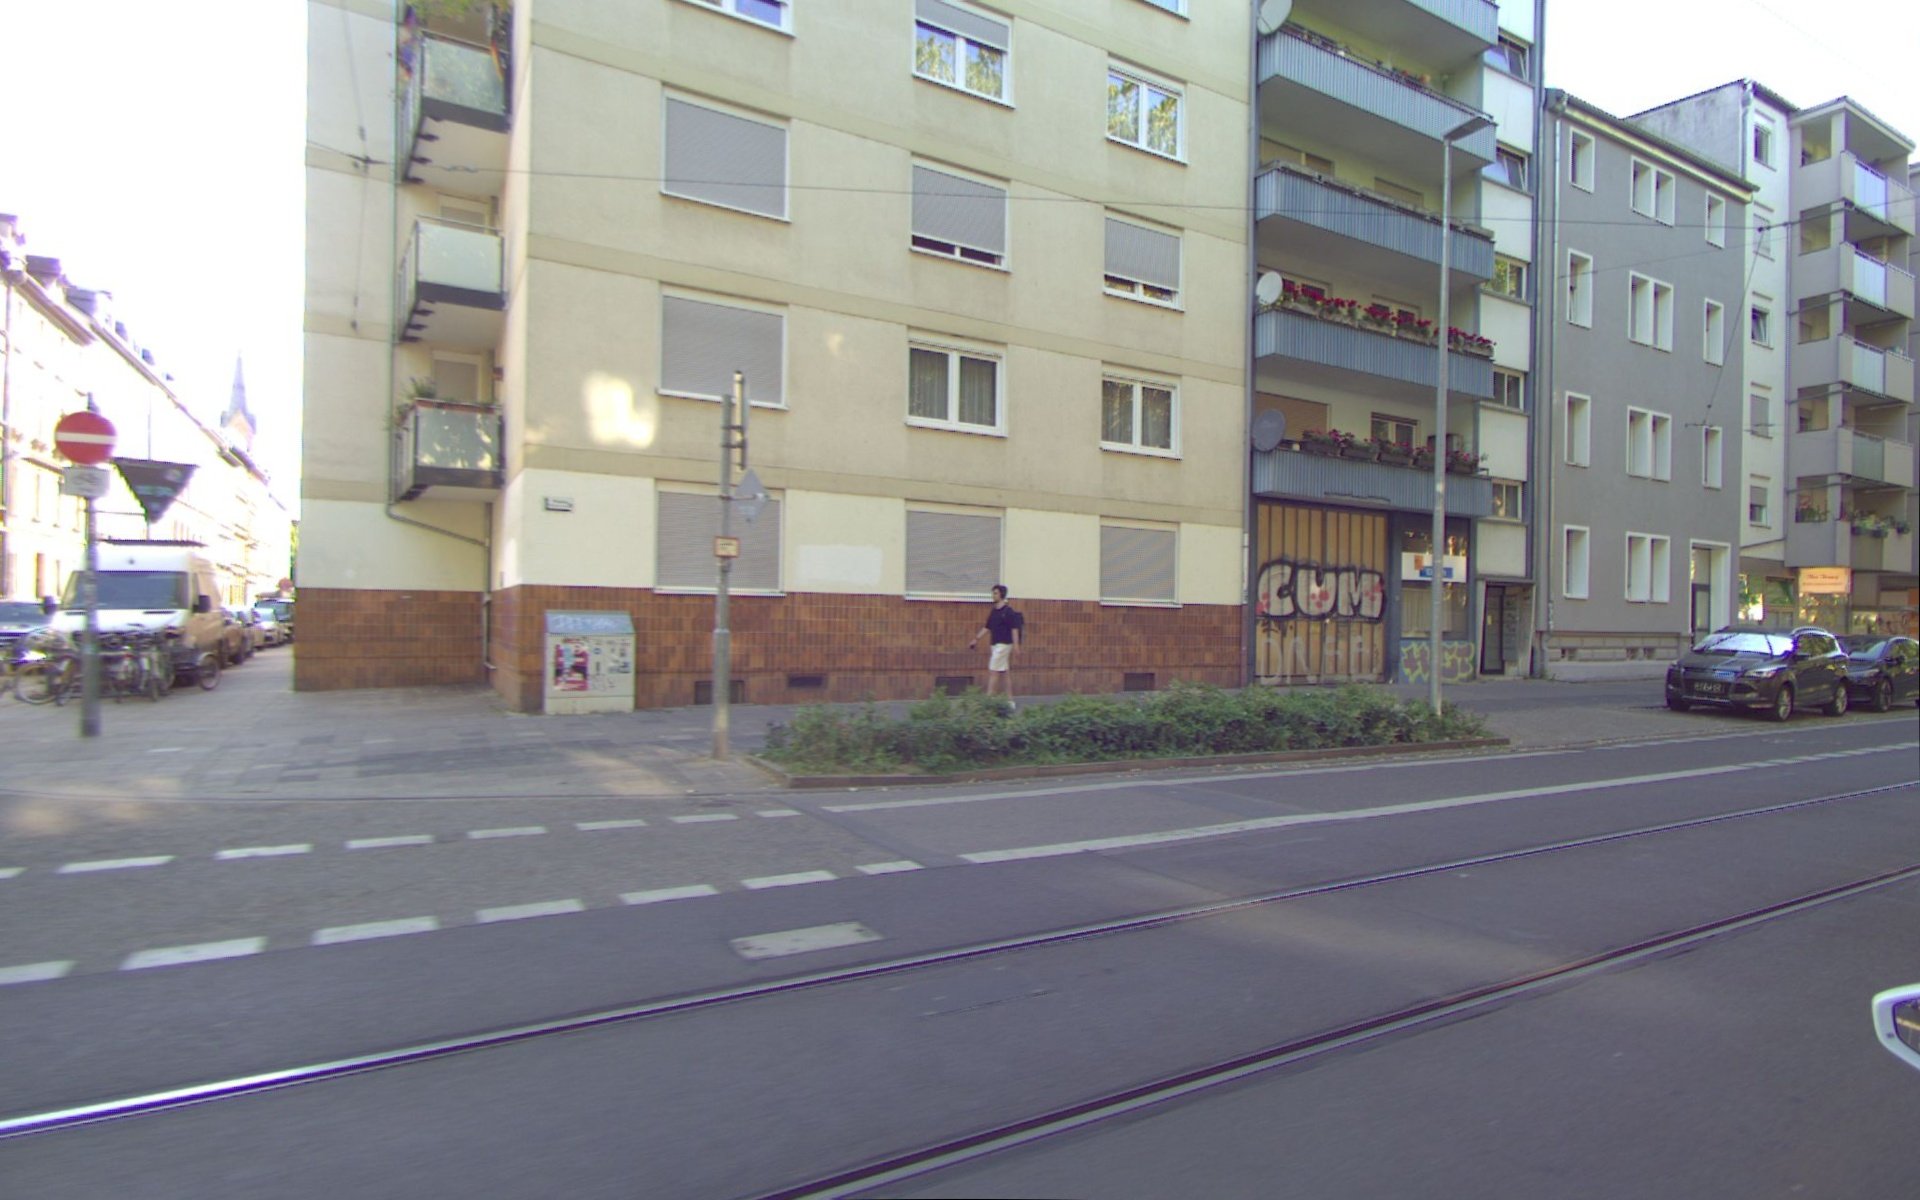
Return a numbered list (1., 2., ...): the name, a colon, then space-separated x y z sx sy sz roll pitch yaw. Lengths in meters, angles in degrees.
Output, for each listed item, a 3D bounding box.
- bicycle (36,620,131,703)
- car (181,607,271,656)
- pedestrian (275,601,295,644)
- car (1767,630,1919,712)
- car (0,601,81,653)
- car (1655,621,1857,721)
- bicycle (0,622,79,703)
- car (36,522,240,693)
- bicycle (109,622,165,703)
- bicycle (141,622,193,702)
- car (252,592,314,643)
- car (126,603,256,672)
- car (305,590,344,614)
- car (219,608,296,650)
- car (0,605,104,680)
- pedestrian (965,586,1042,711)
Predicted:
1. bicycle: -13.173 0.915 15.140 0.576 1.172 1.744 1 -3 -25
2. car: -24.395 1.023 33.535 2.006 1.519 3.926 1 -1 -31
3. pedestrian: -28.101 0.952 41.832 0.649 1.761 0.766 2 -1 -33
4. car: 19.683 1.499 22.013 4.192 1.565 1.694 2 1 -30
5. car: -28.904 0.814 30.931 2.005 1.519 3.927 1 -1 -30
6. car: 15.423 1.305 19.413 4.194 1.672 1.693 1 1 -32
7. bicycle: -14.068 0.920 14.998 1.571 1.172 0.585 -1 -3 16
8. car: -15.429 0.174 19.234 2.146 2.759 5.778 1 -1 -31
9. bicycle: -12.606 0.952 15.421 0.579 1.172 1.736 2 -3 -38
10. bicycle: -12.310 0.948 15.617 0.579 1.172 1.736 2 -3 -38
11. car: -30.318 0.801 45.094 2.006 2.163 3.926 1 -1 -31
12. car: -18.511 0.875 24.371 2.006 1.519 3.926 1 -1 -31
13. car: -42.429 0.125 67.130 2.006 1.519 3.926 1 -1 -31
14. car: -26.902 1.088 38.576 2.077 1.519 3.926 1 -1 -31
15. car: -20.641 0.886 22.132 2.006 1.519 3.926 1 -1 -31
16. pedestrian: 0.662 0.730 15.417 0.954 1.850 0.660 1 -1 -32
